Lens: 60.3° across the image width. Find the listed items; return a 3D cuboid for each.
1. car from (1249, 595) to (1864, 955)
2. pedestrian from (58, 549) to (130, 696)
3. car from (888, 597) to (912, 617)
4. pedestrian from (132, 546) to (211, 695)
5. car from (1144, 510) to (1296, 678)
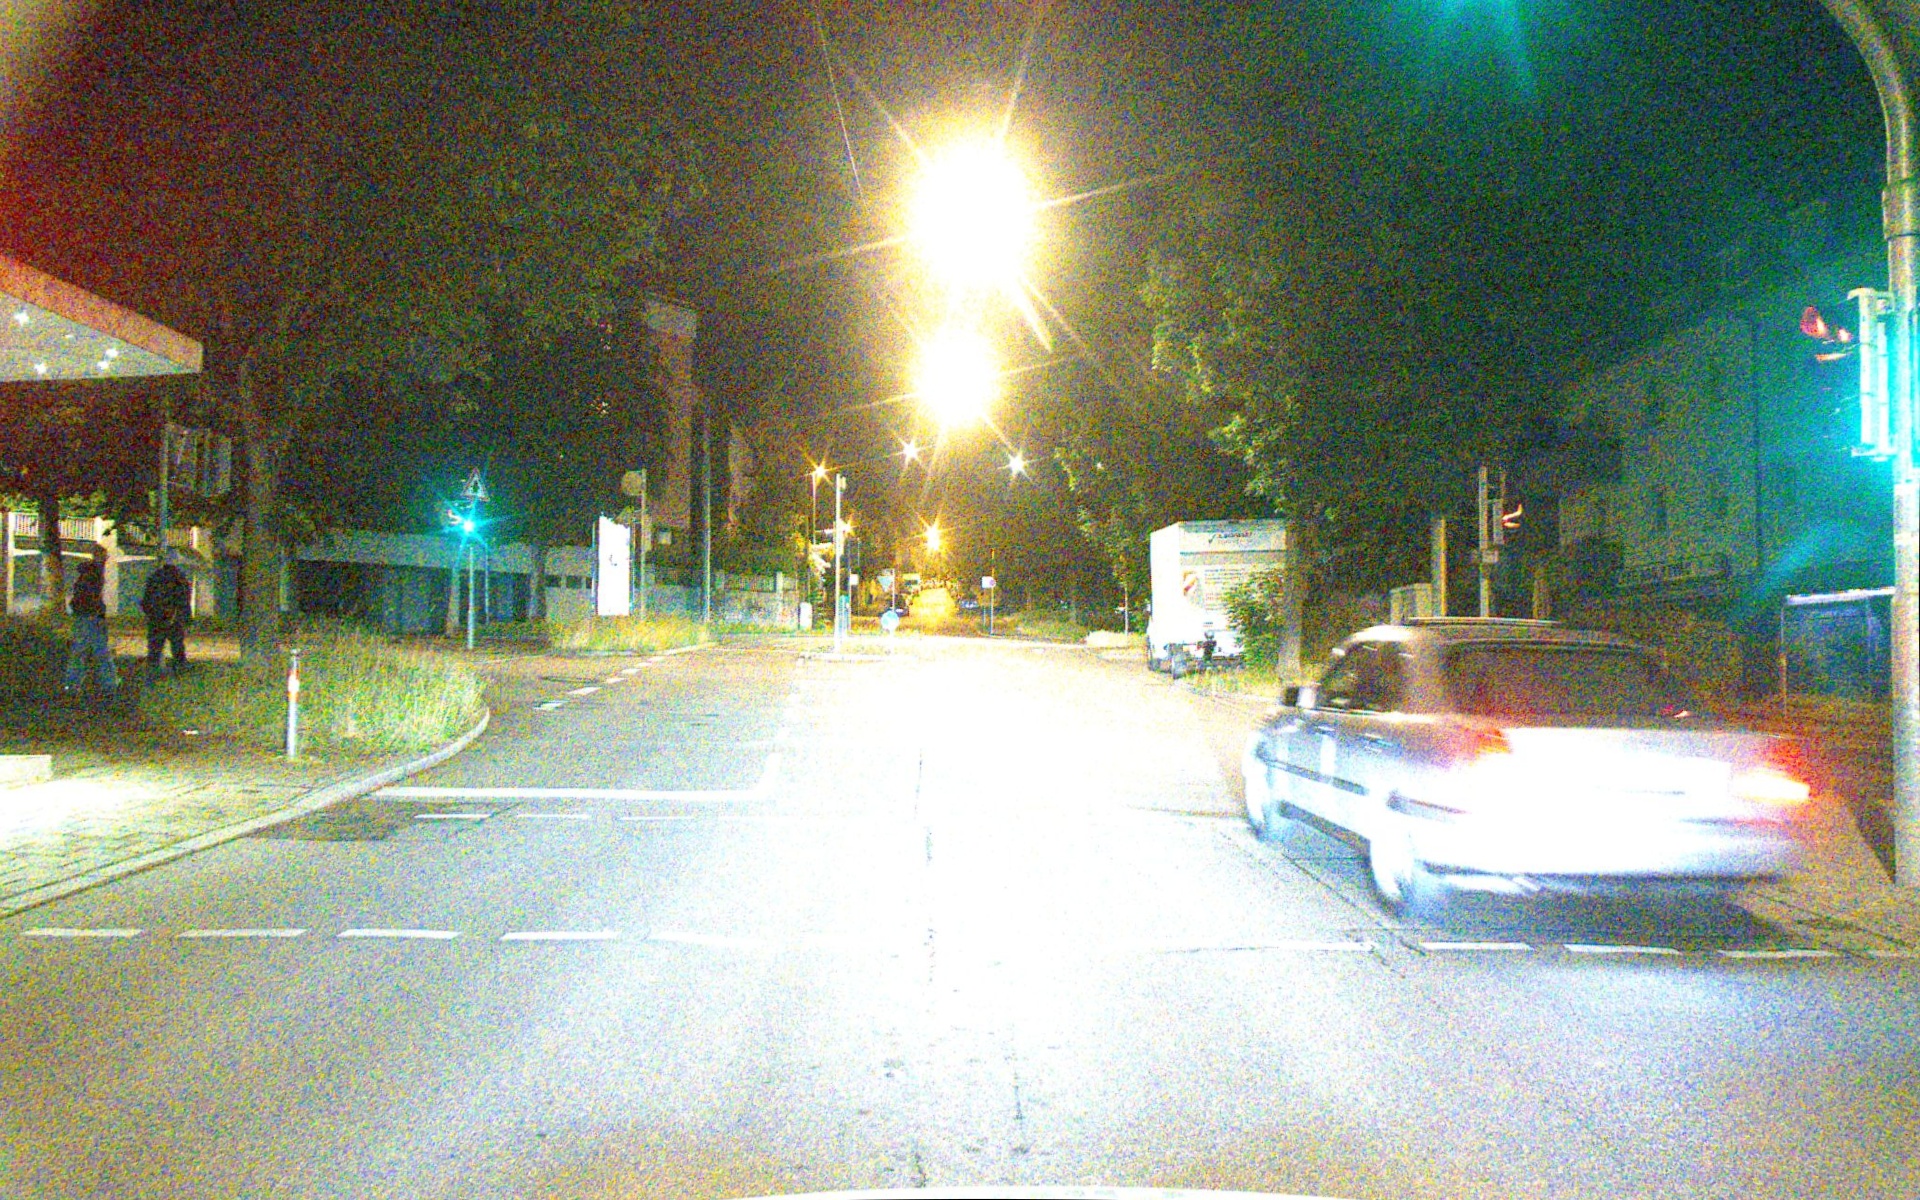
[{"bbox_3d":[2.898,0.757,9.032,1.740,1.512,3.997,1,0,-3],"label":"car"},{"bbox_3d":[-10.580,0.269,20.222,0.558,1.761,0.543,1,-1,-1],"label":"pedestrian"},{"bbox_3d":[-4.843,0.537,134.240,1.869,1.585,3.903,1,0,-1],"label":"car"},{"bbox_3d":[-9.898,0.256,20.781,0.558,1.808,0.737,3,-1,-1],"label":"pedestrian"},{"bbox_3d":[5.253,-0.116,34.313,2.249,3.147,5.840,-1,0,1],"label":"car"}]
